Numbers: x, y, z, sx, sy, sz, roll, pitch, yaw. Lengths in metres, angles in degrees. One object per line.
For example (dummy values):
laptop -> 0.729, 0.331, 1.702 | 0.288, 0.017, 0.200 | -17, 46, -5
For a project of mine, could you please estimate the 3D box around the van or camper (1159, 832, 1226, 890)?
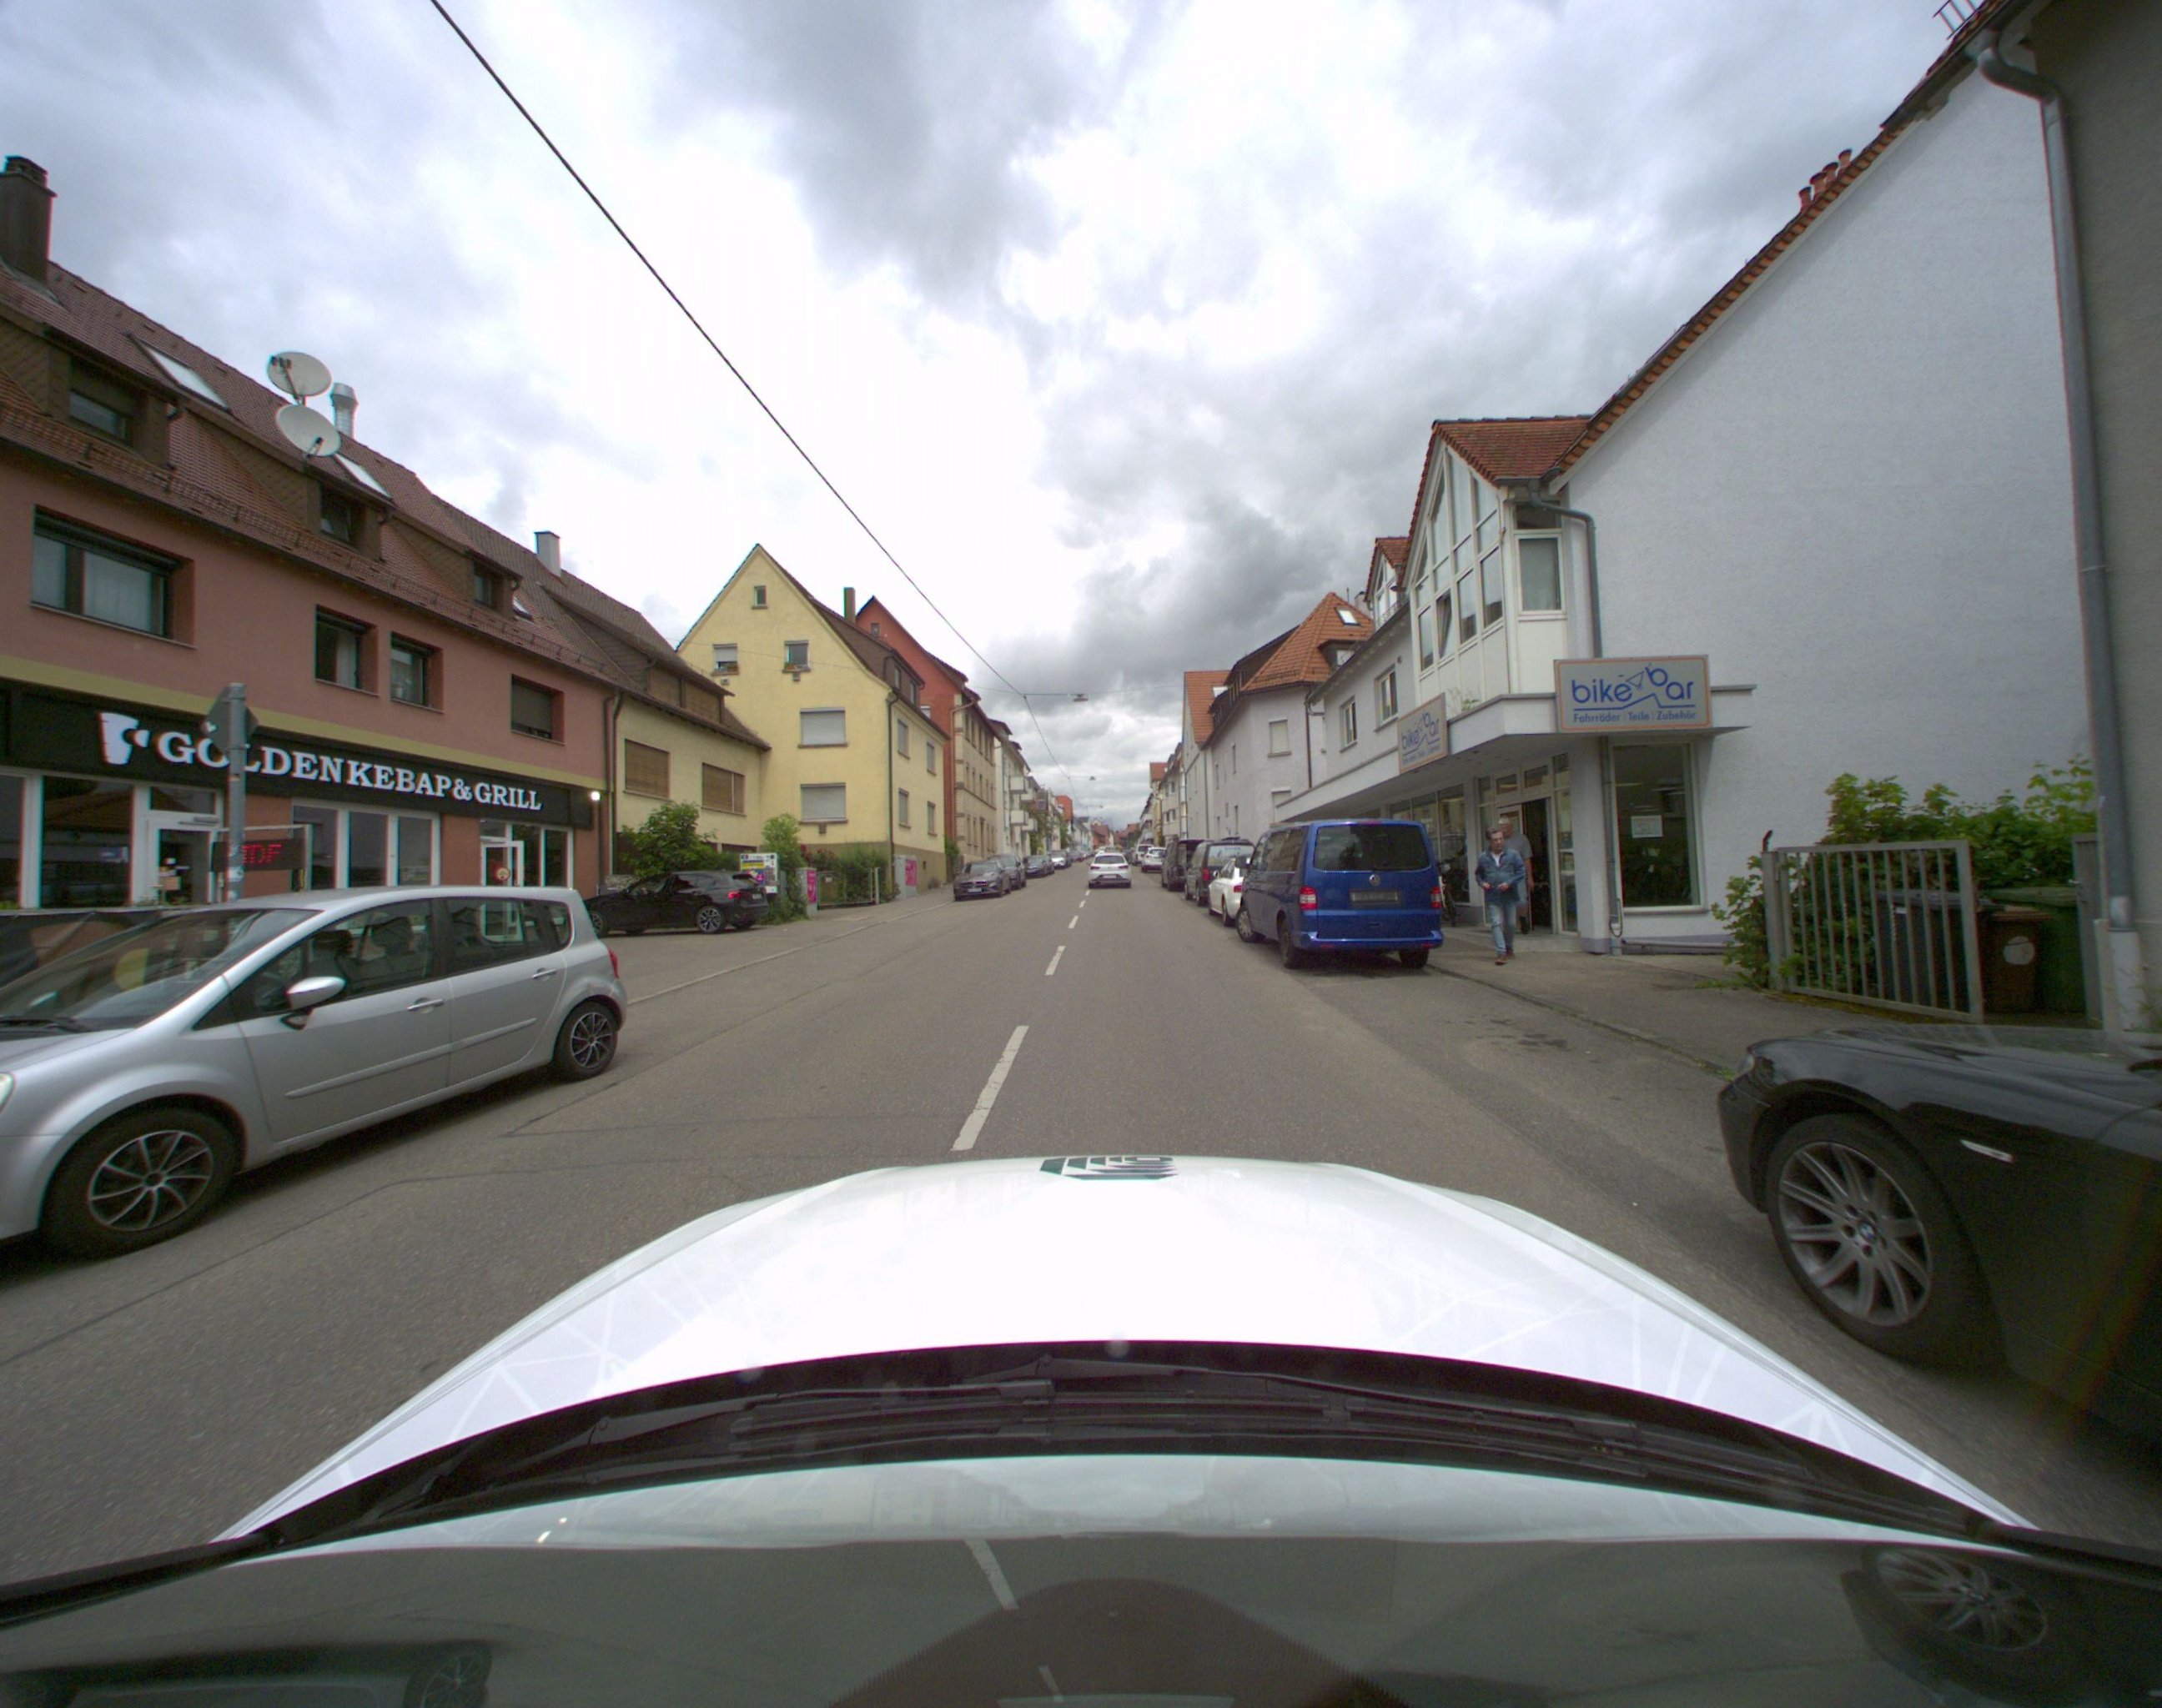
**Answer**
van or camper -> 4.237, 0.230, 31.766 | 1.986, 2.065, 5.947 | 0, 0, 2

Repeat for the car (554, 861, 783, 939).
car -> -9.401, 1.046, 18.810 | 4.212, 1.472, 2.001 | -3, -2, 2

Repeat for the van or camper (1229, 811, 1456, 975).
van or camper -> 3.578, 0.444, 12.200 | 1.919, 1.925, 4.832 | -1, 0, 1

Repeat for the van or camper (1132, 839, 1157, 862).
van or camper -> 5.893, -0.366, 76.133 | 1.934, 2.054, 4.562 | -1, 0, 0

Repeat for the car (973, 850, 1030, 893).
car -> -3.578, 0.744, 37.527 | 1.987, 1.650, 4.555 | -5, 0, 1

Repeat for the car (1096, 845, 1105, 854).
car -> 4.593, -0.989, 192.660 | 1.986, 2.013, 4.002 | -2, 0, 2

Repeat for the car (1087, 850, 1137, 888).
car -> 1.315, 0.583, 34.218 | 1.933, 1.439, 4.003 | -1, 1, 3

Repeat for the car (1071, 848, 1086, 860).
car -> -0.294, 0.014, 117.065 | 1.986, 1.651, 4.181 | -2, 1, 2

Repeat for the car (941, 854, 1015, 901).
car -> -3.916, 0.862, 31.702 | 1.985, 1.472, 4.247 | -5, 0, 3

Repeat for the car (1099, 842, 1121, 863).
car -> 2.856, -0.199, 81.015 | 2.145, 2.013, 4.001 | -1, 0, 1

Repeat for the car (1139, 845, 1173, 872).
car -> 4.901, 0.252, 54.017 | 1.934, 1.693, 4.001 | 1, 1, 1

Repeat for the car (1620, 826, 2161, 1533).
car -> 3.292, 0.696, 1.124 | 1.986, 1.517, 4.893 | 0, 0, 2

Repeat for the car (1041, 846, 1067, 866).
car -> -2.420, 0.132, 73.512 | 1.986, 1.651, 4.002 | -2, 1, 2

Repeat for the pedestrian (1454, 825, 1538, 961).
pedestrian -> 5.515, 0.494, 10.823 | 0.862, 1.725, 0.623 | -2, 0, 37

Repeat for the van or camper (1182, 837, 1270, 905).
van or camper -> 4.173, 0.428, 24.147 | 1.864, 1.828, 4.682 | 0, 1, 1

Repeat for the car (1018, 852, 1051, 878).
car -> -3.005, 0.688, 53.118 | 1.636, 1.473, 4.181 | -5, 0, 2

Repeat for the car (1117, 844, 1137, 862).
car -> 5.229, -0.140, 93.037 | 1.988, 2.013, 3.998 | -2, 0, -1

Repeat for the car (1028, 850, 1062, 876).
car -> -2.482, 0.600, 57.467 | 1.986, 1.651, 4.002 | -2, 1, 2

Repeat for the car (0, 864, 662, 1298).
car -> -4.836, 0.977, 5.050 | 1.823, 1.578, 4.042 | -5, 0, 9

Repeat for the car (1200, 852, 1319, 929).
car -> 3.756, 0.696, 17.939 | 1.708, 1.435, 4.641 | 0, 0, 1

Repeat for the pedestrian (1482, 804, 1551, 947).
pedestrian -> 6.397, 0.304, 11.962 | 0.752, 2.013, 0.623 | -2, 0, 37
